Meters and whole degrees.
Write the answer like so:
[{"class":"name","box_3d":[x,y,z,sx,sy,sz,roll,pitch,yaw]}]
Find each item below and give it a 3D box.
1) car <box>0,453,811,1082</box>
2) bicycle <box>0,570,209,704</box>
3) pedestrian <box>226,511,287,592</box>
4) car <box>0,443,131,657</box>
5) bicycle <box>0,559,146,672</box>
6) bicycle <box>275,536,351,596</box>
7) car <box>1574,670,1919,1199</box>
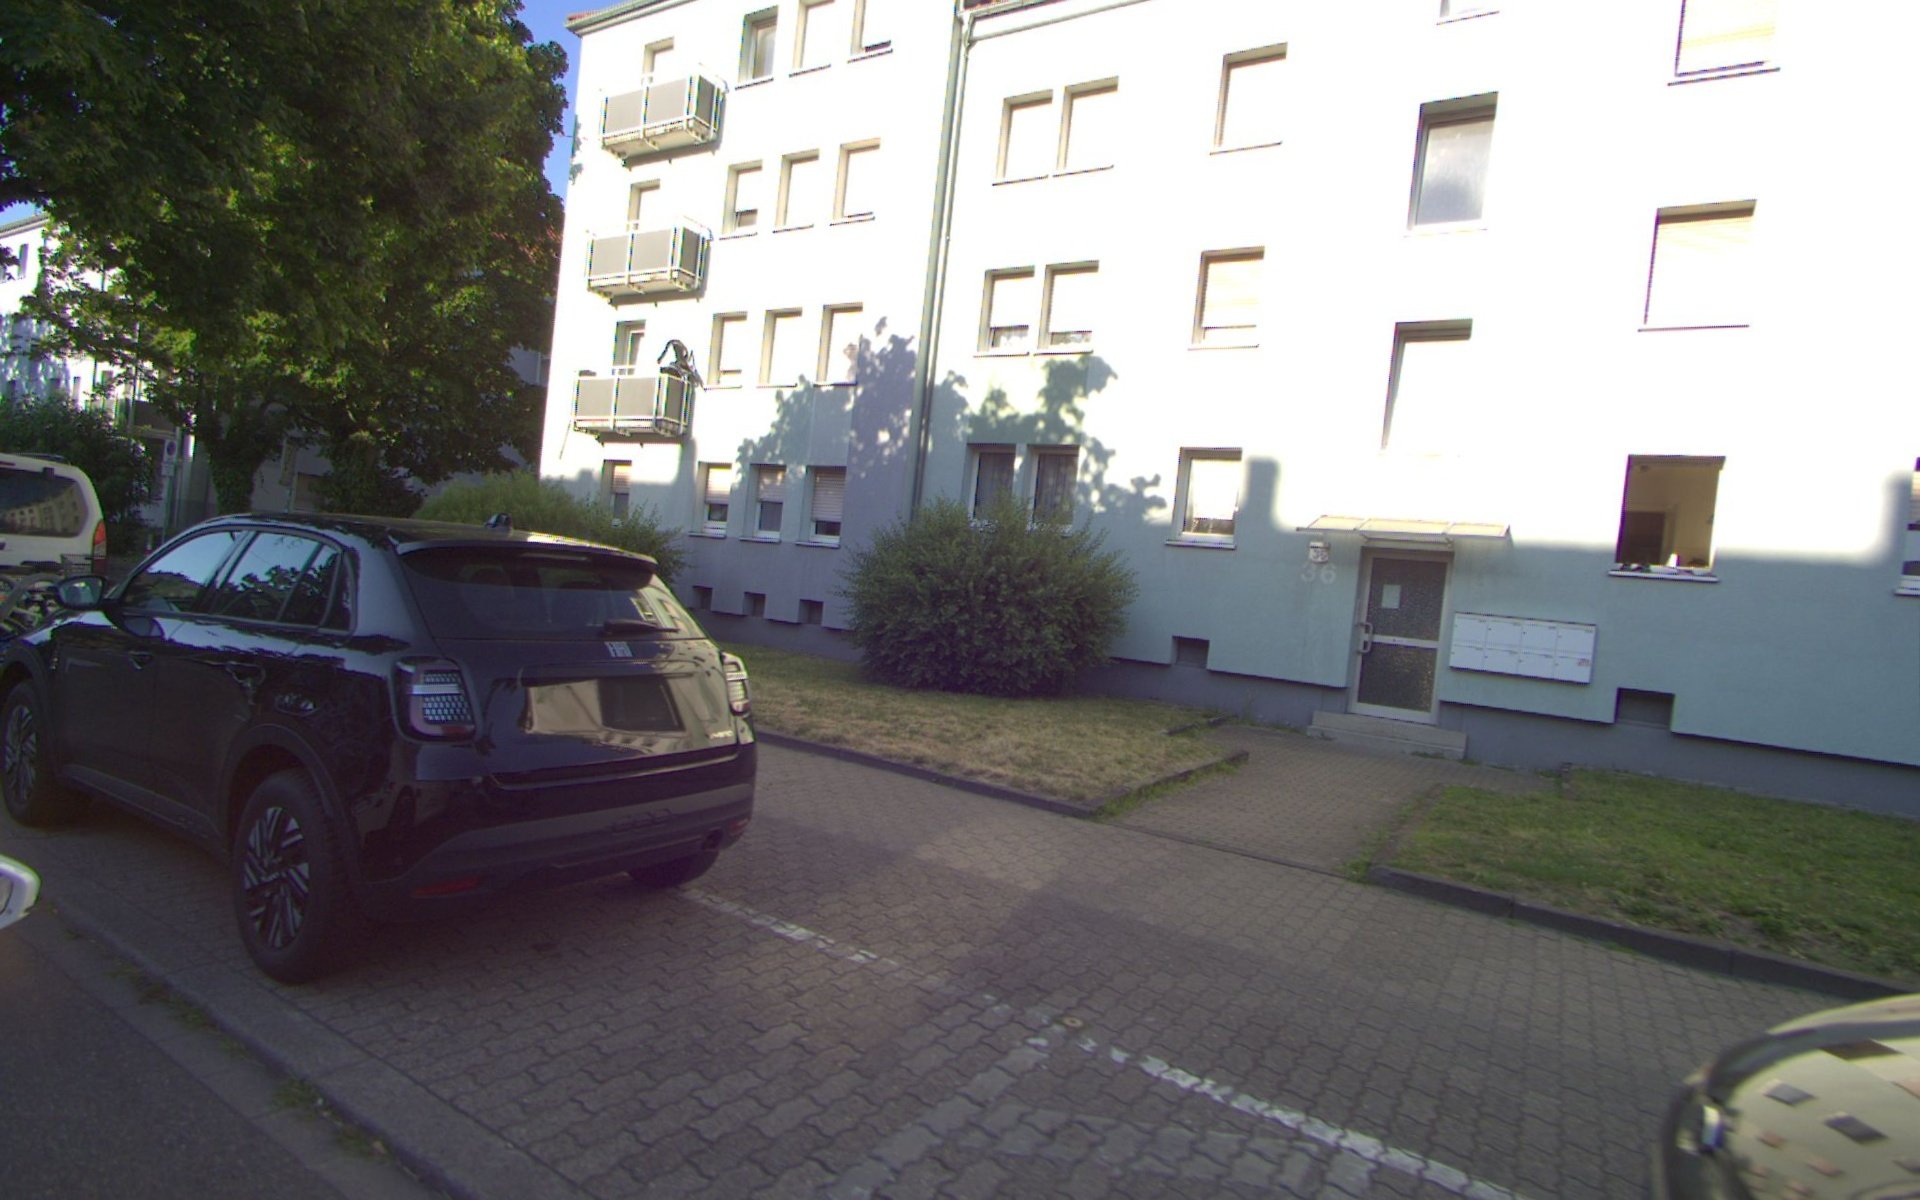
[{"class":"car","box_3d":[-2.900,0.330,4.635,4.184,1.684,1.754,7,2,34]},{"class":"bicycle","box_3d":[-6.418,0.266,7.239,0.386,0.880,1.554,7,1,29]},{"class":"pedestrian","box_3d":[-16.071,-1.107,23.012,0.787,1.744,0.742,5,2,-9]},{"class":"car","box_3d":[-10.251,-0.658,9.814,4.349,1.830,1.804,7,-1,30]},{"class":"bicycle","box_3d":[-7.662,0.123,8.198,0.386,0.880,1.556,7,0,23]},{"class":"bicycle","box_3d":[-12.132,-0.640,18.856,1.652,0.957,0.475,7,2,32]},{"class":"car","box_3d":[2.888,1.072,0.875,3.893,1.485,1.613,7,2,32]}]
